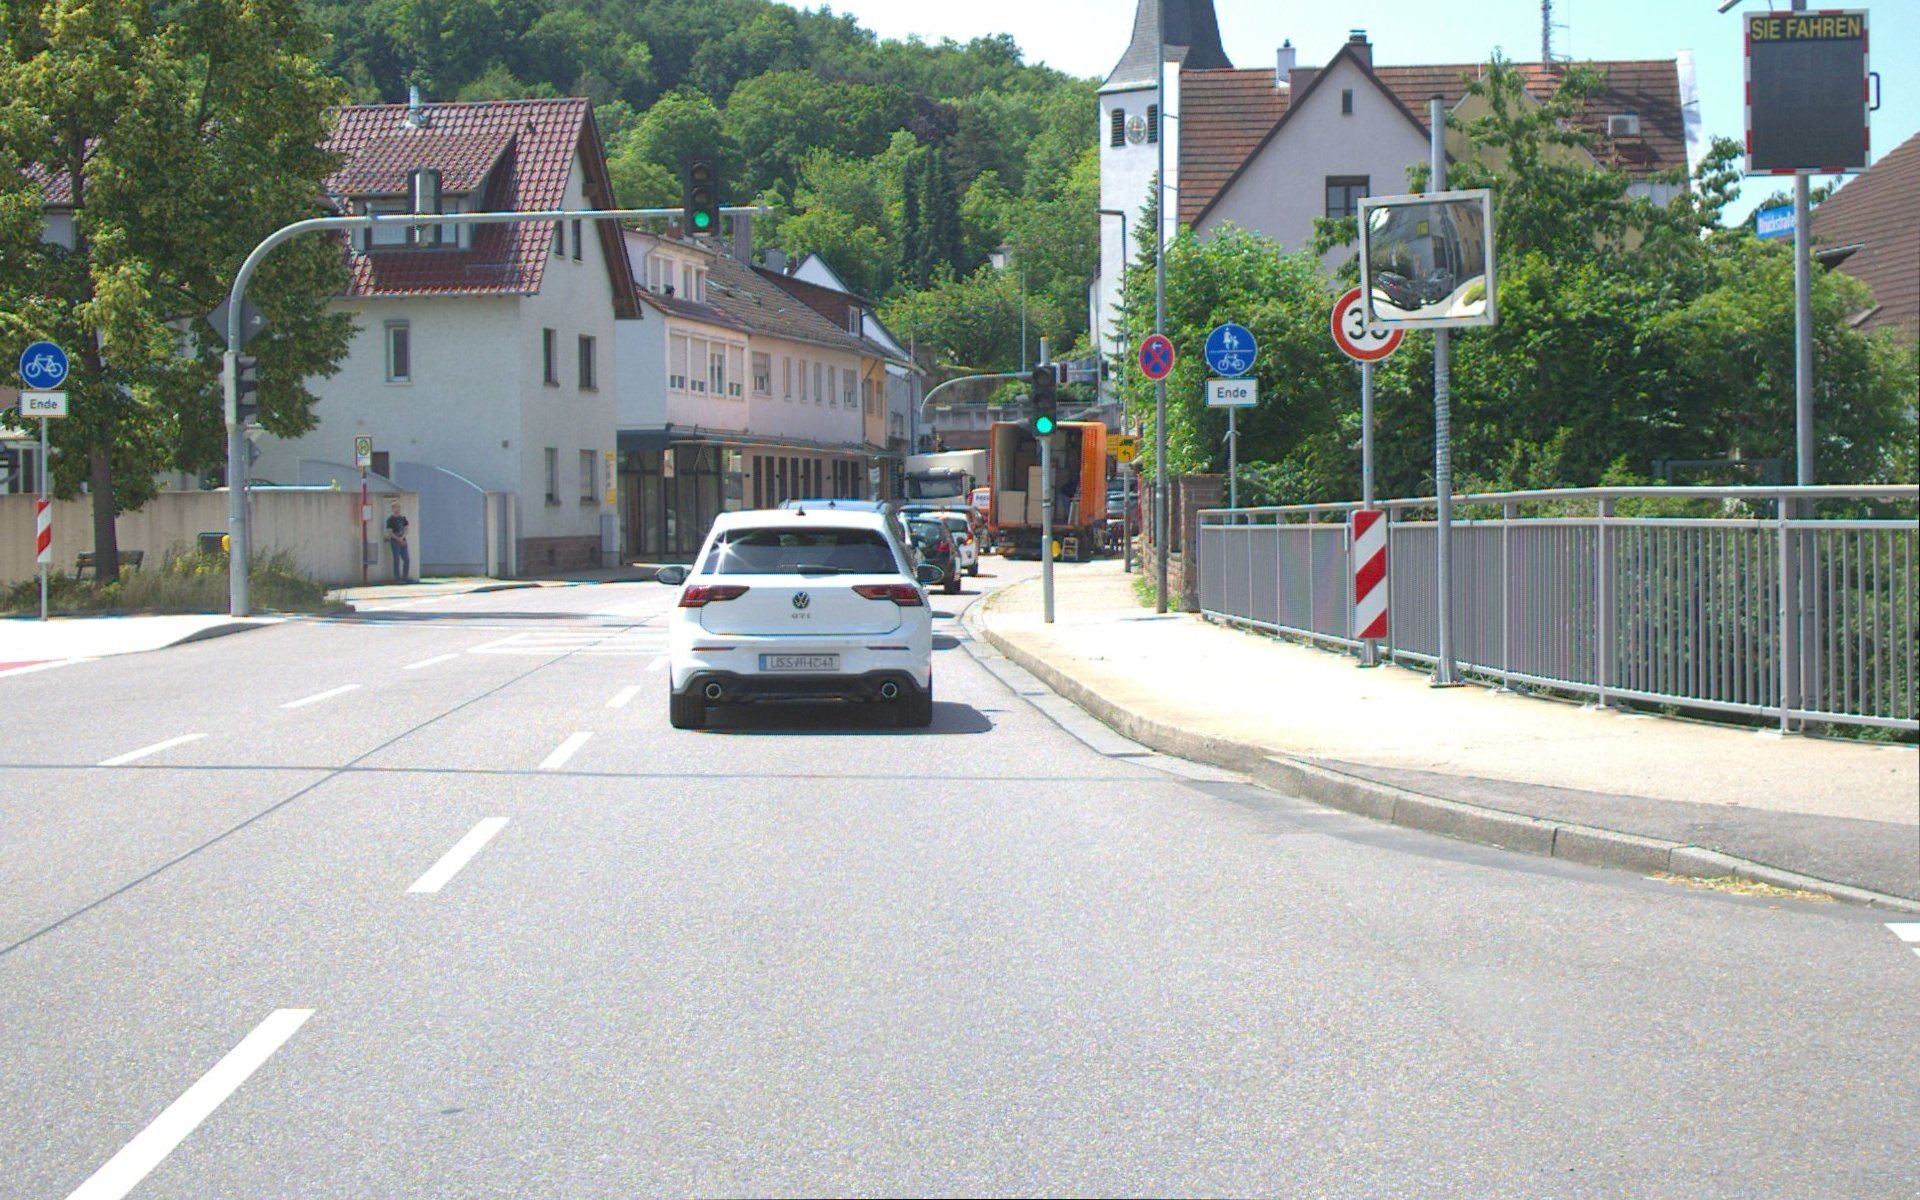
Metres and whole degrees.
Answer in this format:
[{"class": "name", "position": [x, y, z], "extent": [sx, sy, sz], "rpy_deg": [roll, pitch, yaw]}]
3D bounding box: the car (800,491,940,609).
[{"class": "car", "position": [-1.300, -0.747, 51.072], "extent": [1.815, 1.623, 4.000], "rpy_deg": [-2, 1, 2]}]

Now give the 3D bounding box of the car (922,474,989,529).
[{"class": "car", "position": [-0.132, -3.195, 112.487], "extent": [1.993, 1.699, 4.312], "rpy_deg": [-2, 1, 2]}]

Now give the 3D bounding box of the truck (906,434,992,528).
[{"class": "truck", "position": [-0.361, -4.248, 124.317], "extent": [2.502, 3.224, 6.039], "rpy_deg": [-1, 1, 5]}]

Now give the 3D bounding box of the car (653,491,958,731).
[{"class": "car", "position": [-0.992, 0.033, 24.000], "extent": [1.815, 1.514, 4.000], "rpy_deg": [1, 1, 2]}]

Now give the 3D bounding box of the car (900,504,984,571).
[{"class": "car", "position": [-0.398, -1.476, 81.651], "extent": [1.815, 1.514, 4.000], "rpy_deg": [-2, 1, 2]}]

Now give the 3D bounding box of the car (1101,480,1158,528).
[{"class": "car", "position": [5.766, -3.257, 117.106], "extent": [1.815, 1.514, 4.000], "rpy_deg": [-2, 1, 2]}]

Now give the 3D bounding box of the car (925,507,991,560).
[{"class": "car", "position": [-0.054, -1.995, 103.056], "extent": [1.815, 1.514, 4.000], "rpy_deg": [-2, 1, 2]}]

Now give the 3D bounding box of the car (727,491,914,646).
[{"class": "car", "position": [-1.537, -0.375, 39.166], "extent": [1.815, 1.623, 4.000], "rpy_deg": [-2, 1, 2]}]

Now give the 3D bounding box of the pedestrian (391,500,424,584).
[{"class": "pedestrian", "position": [-11.658, -1.217, 72.576], "extent": [0.434, 1.758, 0.556], "rpy_deg": [0, 2, 21]}]

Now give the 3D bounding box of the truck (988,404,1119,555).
[{"class": "truck", "position": [2.868, -3.496, 102.040], "extent": [3.367, 4.155, 9.518], "rpy_deg": [-1, 1, 4]}]

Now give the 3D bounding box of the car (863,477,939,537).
[{"class": "car", "position": [-1.578, -2.502, 93.076], "extent": [1.815, 1.514, 4.000], "rpy_deg": [-2, 1, 2]}]

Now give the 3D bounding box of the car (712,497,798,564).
[{"class": "car", "position": [-5.206, -1.773, 87.807], "extent": [1.815, 1.644, 4.000], "rpy_deg": [1, 1, 2]}]

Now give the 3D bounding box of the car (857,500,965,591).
[{"class": "car", "position": [-0.894, -1.032, 64.959], "extent": [1.815, 1.623, 4.000], "rpy_deg": [-2, 1, 2]}]
